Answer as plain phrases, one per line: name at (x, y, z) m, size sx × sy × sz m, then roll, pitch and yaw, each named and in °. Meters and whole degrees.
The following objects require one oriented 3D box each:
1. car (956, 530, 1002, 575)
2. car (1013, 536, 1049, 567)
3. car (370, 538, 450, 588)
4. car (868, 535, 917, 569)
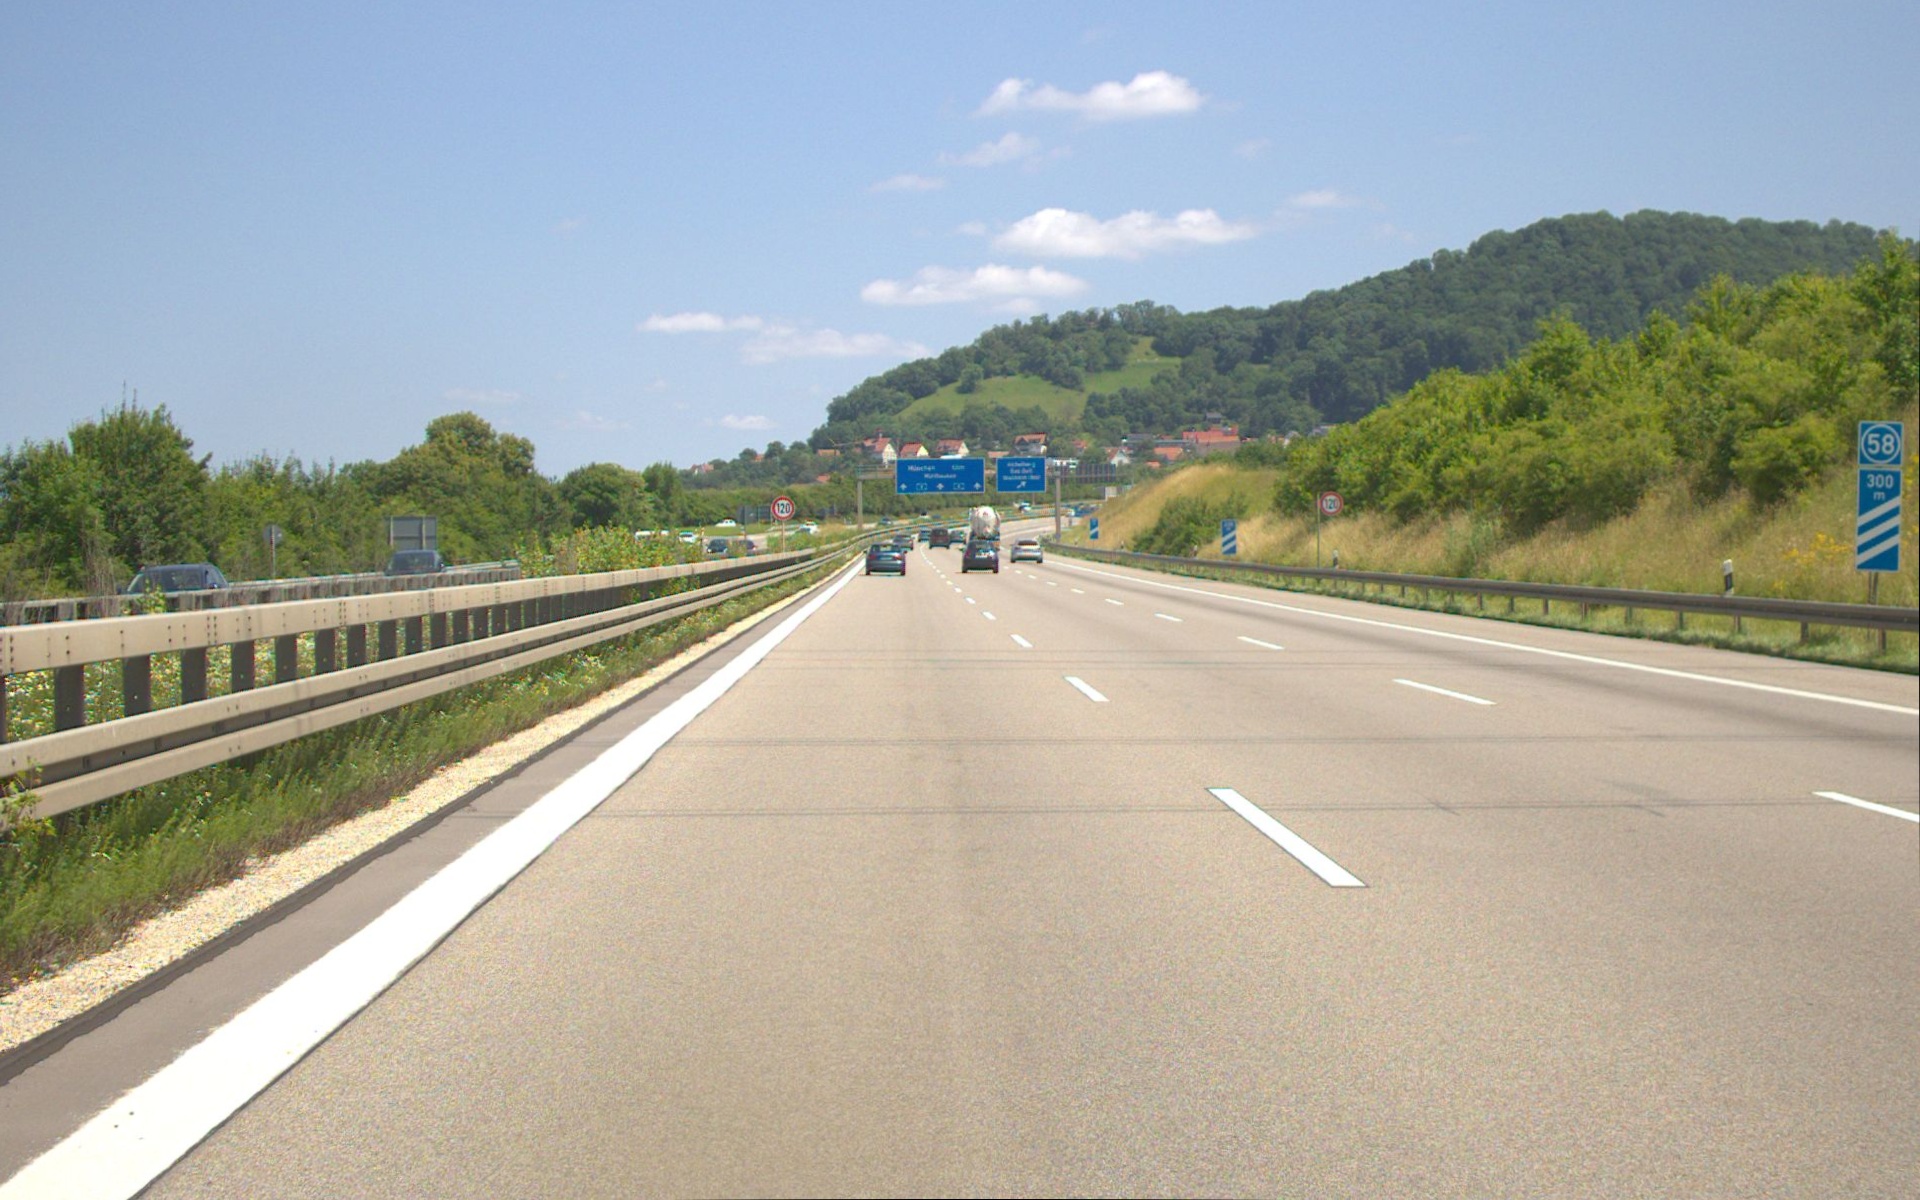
car at (0.852, -2.147, 156.443) m, size 1.993 × 2.007 × 4.000 m, roll 1°, pitch 0°, yaw 0°
car at (4.226, -2.888, 205.176) m, size 1.993 × 1.812 × 4.000 m, roll -1°, pitch 1°, yaw 0°
car at (-17.718, -1.185, 110.892) m, size 1.947 × 1.538 × 4.286 m, roll 1°, pitch 1°, yaw -1°
car at (-2.848, -2.025, 145.023) m, size 1.993 × 1.384 × 4.000 m, roll 1°, pitch 1°, yaw 0°
